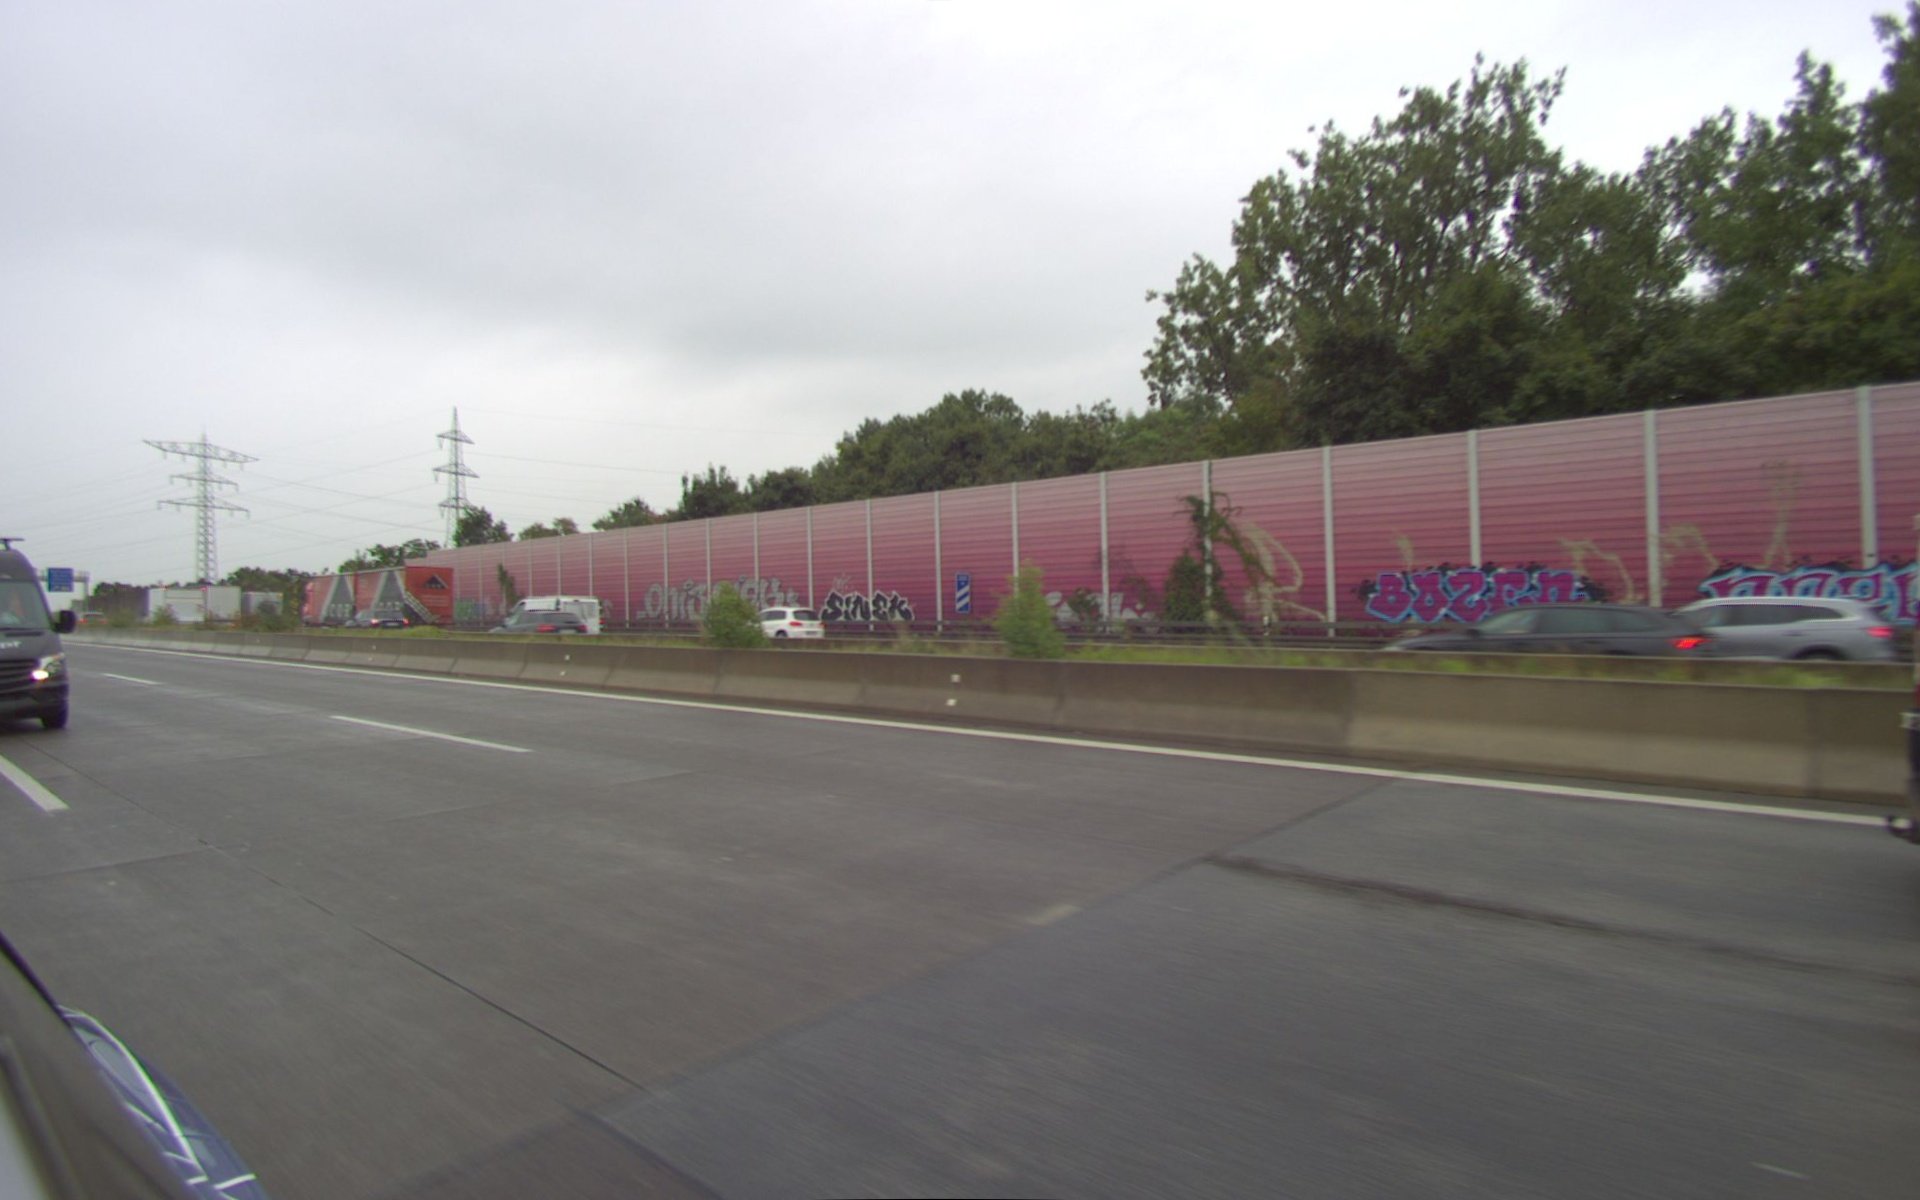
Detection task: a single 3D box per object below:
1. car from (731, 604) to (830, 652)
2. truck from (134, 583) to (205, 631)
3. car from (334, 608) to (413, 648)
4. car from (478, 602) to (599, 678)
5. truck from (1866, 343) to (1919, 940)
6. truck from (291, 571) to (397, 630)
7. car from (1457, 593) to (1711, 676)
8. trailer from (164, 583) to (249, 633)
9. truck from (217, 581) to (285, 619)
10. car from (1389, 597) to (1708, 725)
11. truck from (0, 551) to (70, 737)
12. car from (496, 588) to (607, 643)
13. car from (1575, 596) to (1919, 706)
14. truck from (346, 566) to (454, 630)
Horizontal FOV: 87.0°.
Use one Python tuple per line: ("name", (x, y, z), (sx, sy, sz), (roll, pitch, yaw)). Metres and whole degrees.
("car", (-7.211, 1.109, 40.501), (3.913, 1.663, 1.721), (-2, 4, 41))
("truck", (-51.246, 0.462, 65.540), (7.276, 2.849, 2.243), (-1, 2, 41))
("car", (-29.495, 1.370, 50.832), (4.384, 1.873, 1.974), (-1, 0, 39))
("car", (-12.900, 1.193, 30.888), (3.650, 2.028, 1.846), (-2, 4, 41))
("truck", (7.146, 0.123, 2.967), (6.579, 2.498, 2.214), (-1, -1, 41))
("truck", (-39.905, 0.075, 65.328), (10.613, 3.517, 2.752), (-1, 0, 41))
("car", (13.737, 0.736, 22.437), (4.536, 1.660, 1.973), (-2, -2, 41))
("trailer", (-66.834, 0.760, 89.579), (14.119, 4.057, 3.015), (-1, 2, 41))
("truck", (-65.781, 0.055, 93.846), (9.374, 3.272, 2.911), (-1, 2, 41))
("car", (9.115, 0.880, 15.834), (3.998, 1.737, 1.973), (-2, -2, 41))
("truck", (-14.707, 0.596, 14.523), (6.106, 2.355, 1.974), (-1, 0, 40))
("car", (-15.496, 0.601, 38.292), (4.440, 1.769, 2.006), (-2, 4, 41))
("car", (13.457, 0.829, 17.520), (4.536, 1.660, 1.973), (-2, -2, 41))
("truck", (-32.738, -0.073, 58.997), (8.490, 3.517, 2.752), (-1, 0, 41))
